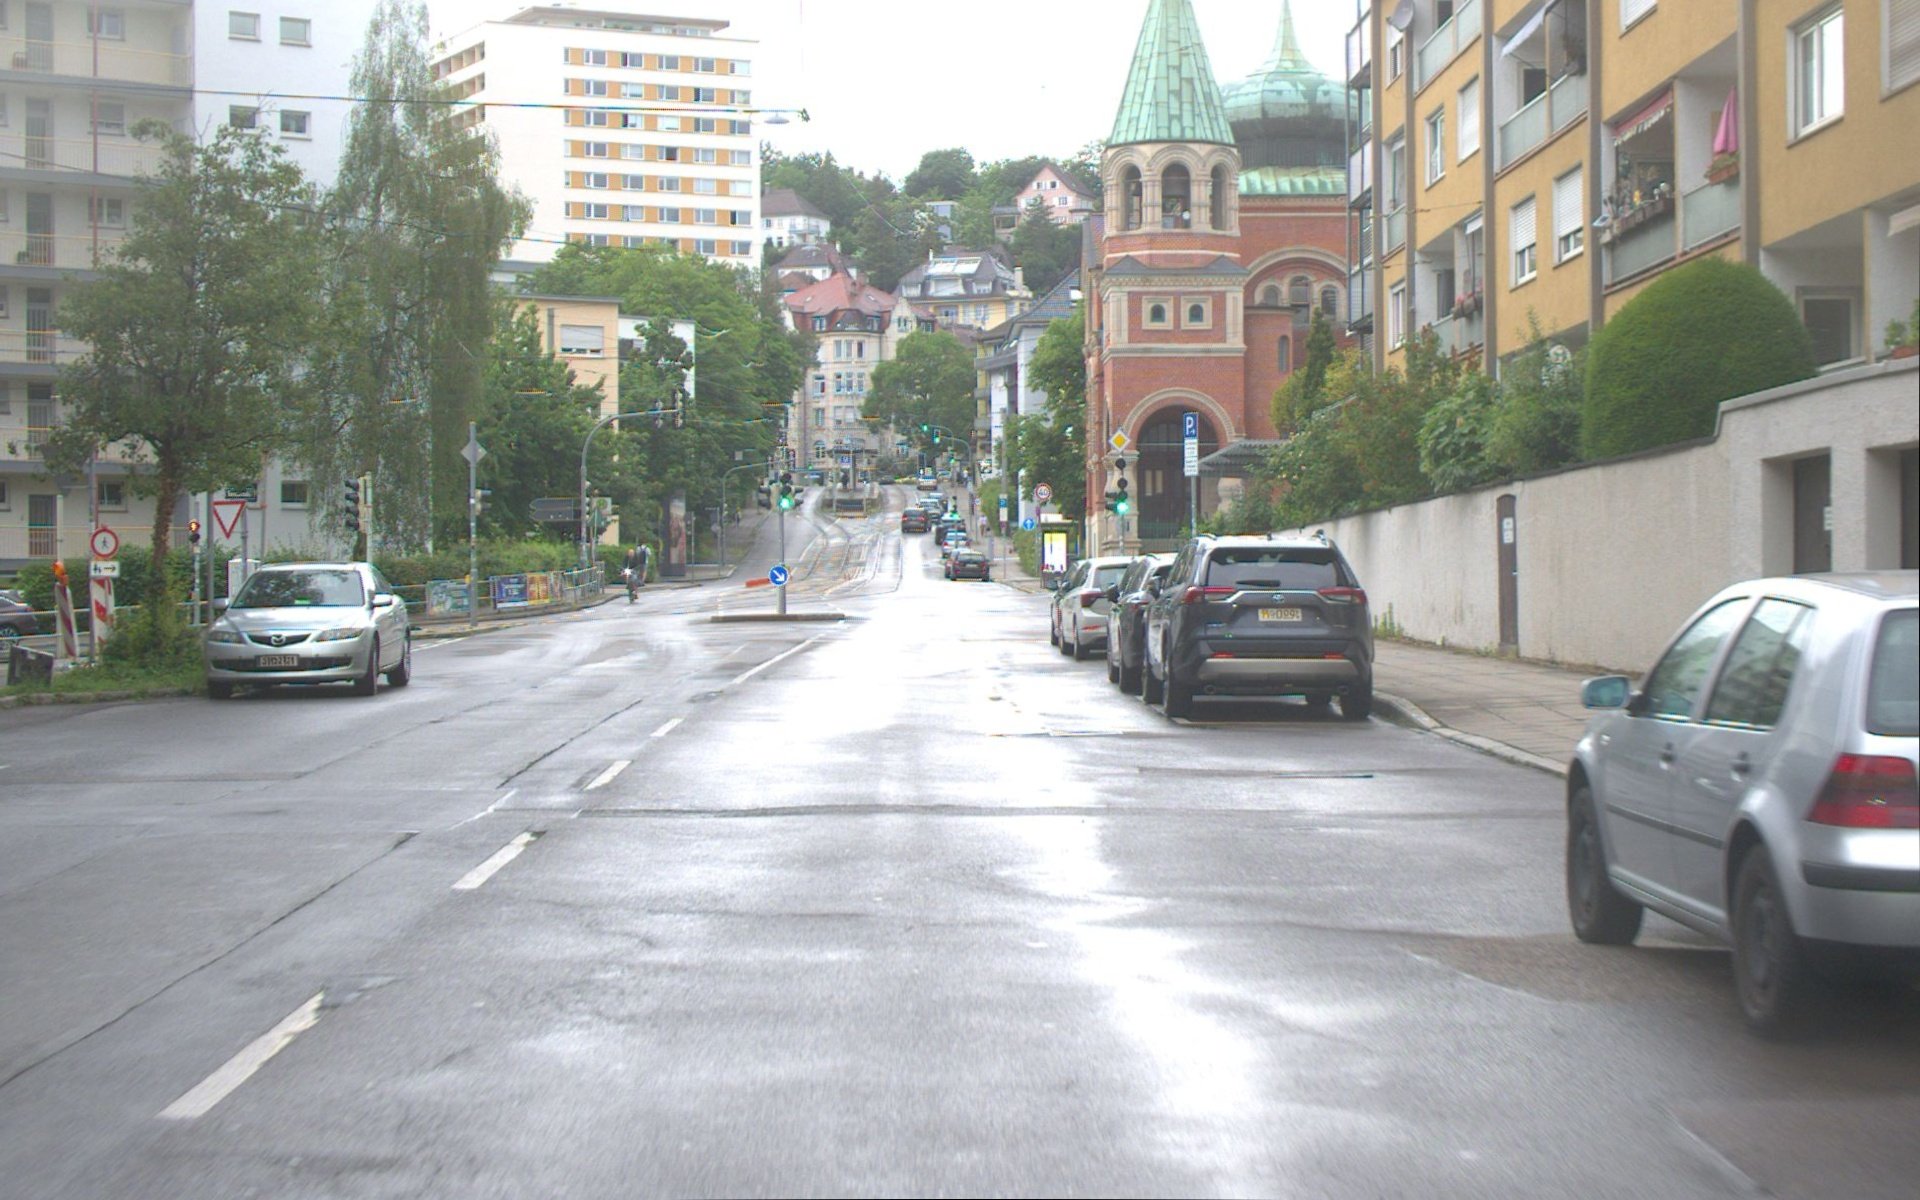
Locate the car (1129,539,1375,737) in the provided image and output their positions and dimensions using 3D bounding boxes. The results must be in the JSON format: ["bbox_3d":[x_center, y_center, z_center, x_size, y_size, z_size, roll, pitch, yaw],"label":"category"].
[{"bbox_3d":[2.649,0.297,32.058,1.817,1.647,4.076,1,1,-1],"label":"car"}]

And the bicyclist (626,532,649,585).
[{"bbox_3d":[-10.113,-1.293,107.768,0.677,1.655,0.650,0,1,-4],"label":"bicyclist"}]

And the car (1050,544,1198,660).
[{"bbox_3d":[2.329,-0.011,49.653,1.817,1.517,4.076,1,1,-1],"label":"car"}]

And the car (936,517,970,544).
[{"bbox_3d":[-0.414,-4.128,203.372,1.892,1.505,4.001,1,1,-1],"label":"car"}]

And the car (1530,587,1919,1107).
[{"bbox_3d":[3.161,0.688,11.657,1.663,1.395,3.922,0,1,-2],"label":"car"}]

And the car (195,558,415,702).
[{"bbox_3d":[-7.088,0.286,37.564,1.709,1.445,4.295,-1,1,-2],"label":"car"}]

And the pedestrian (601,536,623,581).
[{"bbox_3d":[-14.863,-1.777,146.837,0.887,1.886,0.923,0,1,-7],"label":"pedestrian"}]

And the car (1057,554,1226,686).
[{"bbox_3d":[2.274,0.218,44.071,1.817,1.517,4.076,1,1,-1],"label":"car"}]

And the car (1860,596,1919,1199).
[{"bbox_3d":[3.146,0.777,6.619,1.663,1.497,3.922,0,1,-2],"label":"car"}]

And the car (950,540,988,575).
[{"bbox_3d":[0.442,-2.090,166.712,1.732,1.648,4.000,0,1,2],"label":"car"}]

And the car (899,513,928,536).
[{"bbox_3d":[-3.171,-5.197,235.608,1.908,1.505,4.001,1,1,-1],"label":"car"}]

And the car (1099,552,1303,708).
[{"bbox_3d":[2.567,0.280,37.537,1.817,1.517,4.076,1,1,-1],"label":"car"}]

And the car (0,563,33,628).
[{"bbox_3d":[-24.017,-0.084,80.675,3.988,1.505,1.800,-1,2,-39],"label":"car"}]

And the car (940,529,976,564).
[{"bbox_3d":[-0.093,-2.802,178.219,1.851,1.760,4.000,1,1,0],"label":"car"}]

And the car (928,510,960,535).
[{"bbox_3d":[-1.045,-4.946,219.391,1.908,1.505,4.001,1,1,-1],"label":"car"}]

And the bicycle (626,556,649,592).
[{"bbox_3d":[-10.117,-0.819,107.801,0.677,1.104,1.800,0,1,-4],"label":"bicycle"}]
